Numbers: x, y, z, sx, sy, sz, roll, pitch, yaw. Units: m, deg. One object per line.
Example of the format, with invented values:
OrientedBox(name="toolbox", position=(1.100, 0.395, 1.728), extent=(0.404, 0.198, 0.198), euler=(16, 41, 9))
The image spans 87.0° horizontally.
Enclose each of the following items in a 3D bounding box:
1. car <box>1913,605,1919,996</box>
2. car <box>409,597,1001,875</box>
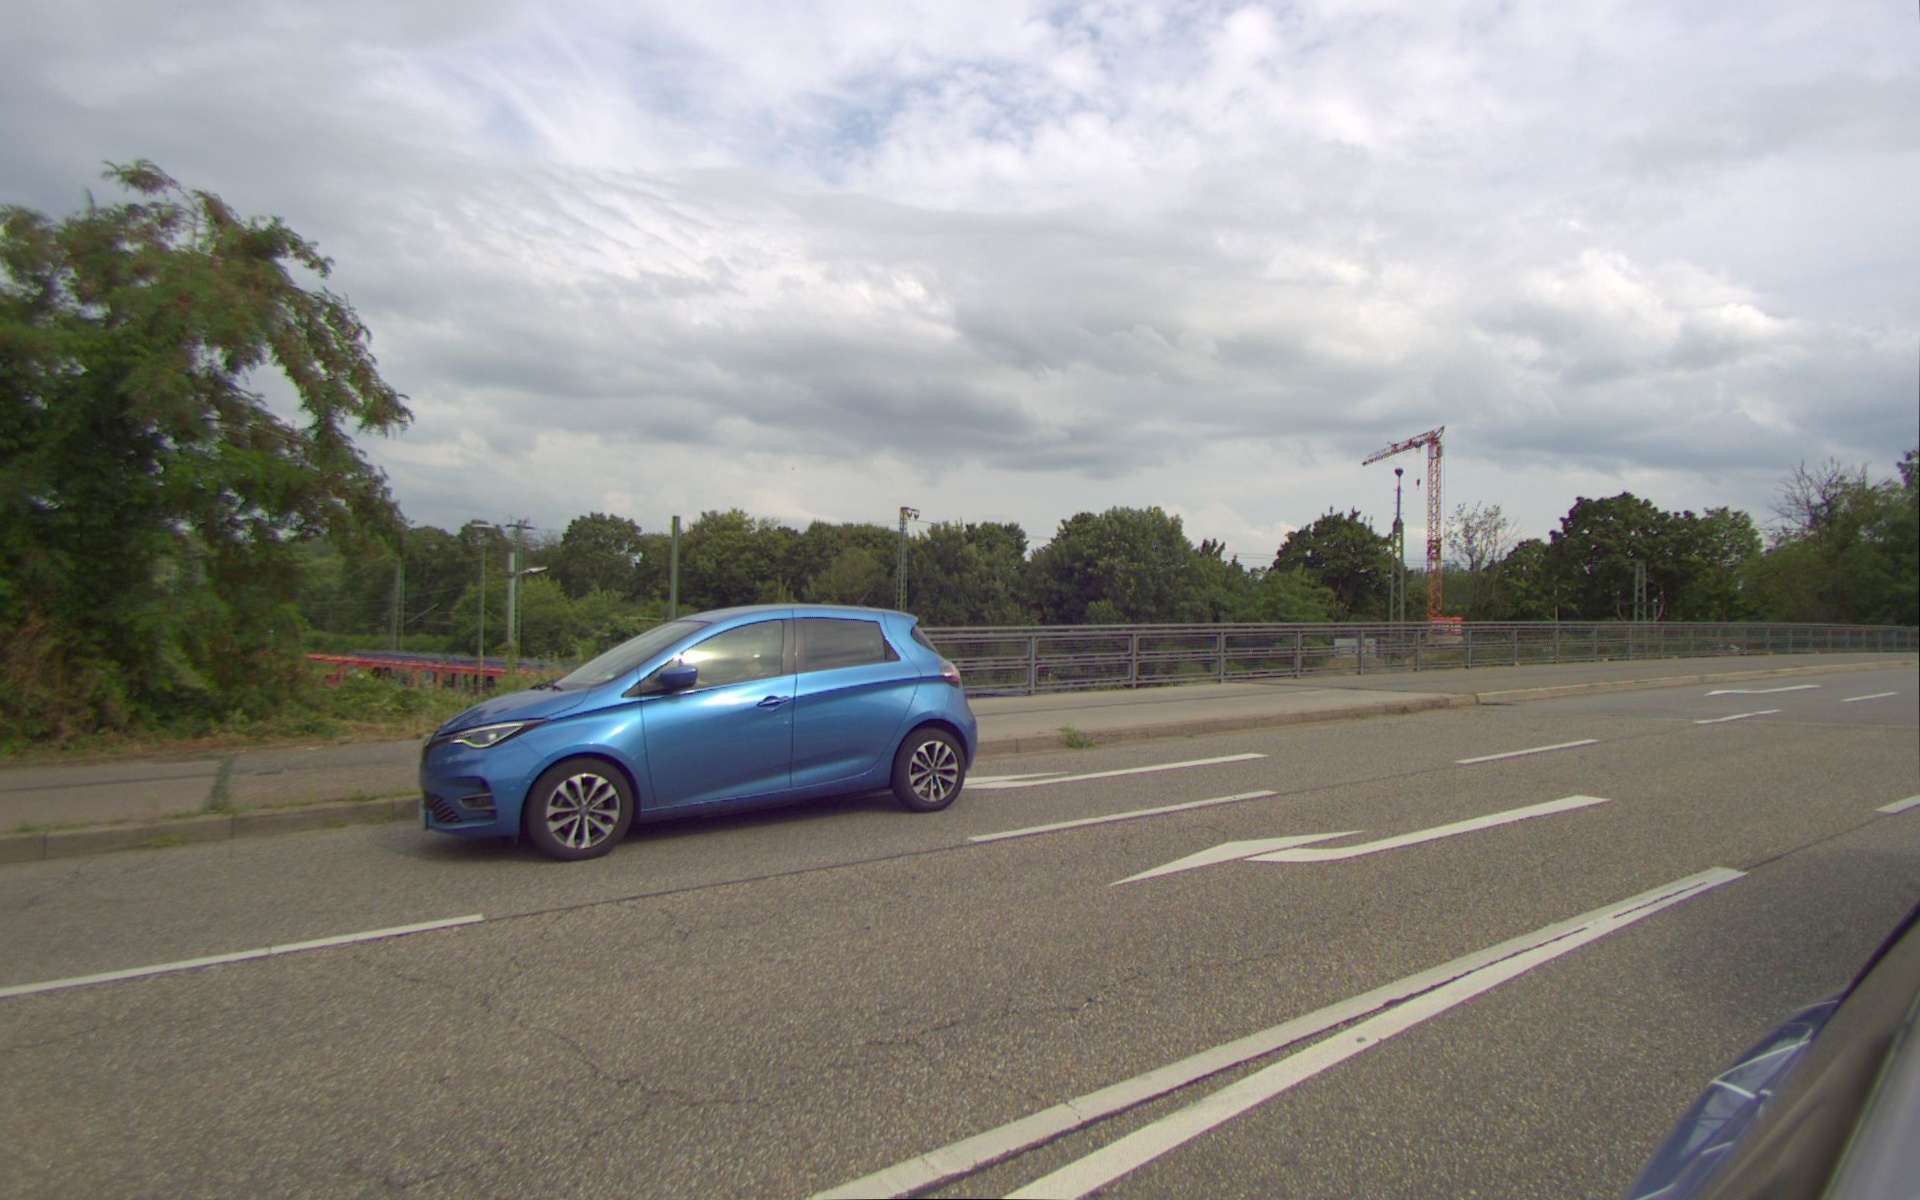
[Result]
OrientedBox(name="car", position=(5.806, 0.707, 4.151), extent=(4.639, 1.381, 1.854), euler=(0, 0, -35))
OrientedBox(name="car", position=(-1.783, 0.780, 7.450), extent=(3.873, 1.541, 1.727), euler=(0, -2, -33))
